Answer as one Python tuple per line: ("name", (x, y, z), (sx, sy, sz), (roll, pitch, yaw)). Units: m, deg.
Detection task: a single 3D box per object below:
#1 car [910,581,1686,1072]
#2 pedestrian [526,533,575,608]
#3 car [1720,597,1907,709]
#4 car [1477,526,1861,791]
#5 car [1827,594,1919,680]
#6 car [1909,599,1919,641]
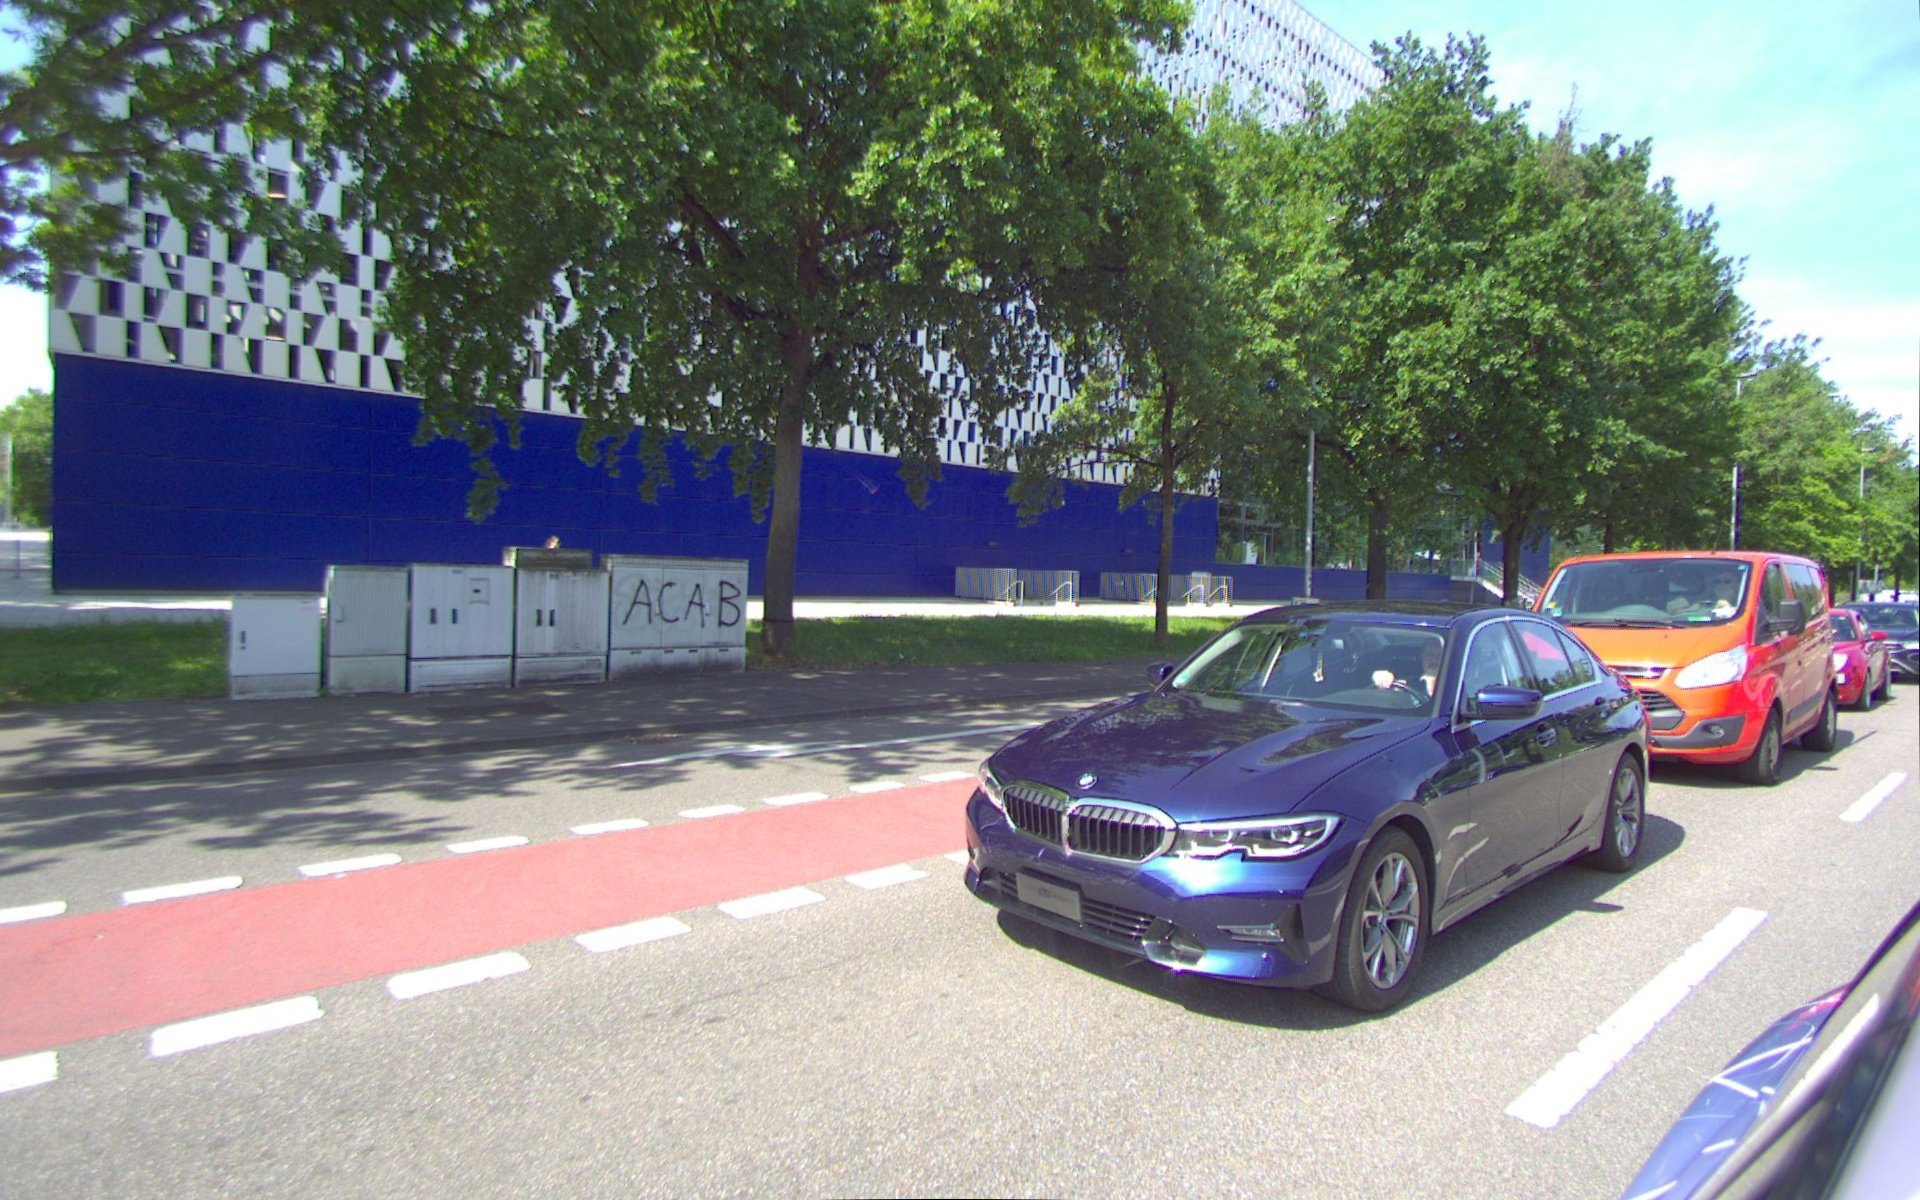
("car", (2.036, 0.663, 5.157), (4.460, 1.447, 1.798), (0, 0, -42))
("pedestrian", (-8.784, -0.628, 21.703), (0.767, 1.565, 0.680), (0, 2, -41))
("car", (12.922, 0.699, 15.256), (3.849, 1.440, 1.690), (0, 1, -43))
("car", (6.962, 0.421, 9.715), (4.727, 1.931, 2.012), (0, 0, -42))
("car", (18.580, 0.675, 20.066), (3.932, 1.559, 1.647), (0, -1, -43))
("car", (34.974, 0.703, 35.938), (3.933, 1.480, 1.646), (0, 0, -44))
